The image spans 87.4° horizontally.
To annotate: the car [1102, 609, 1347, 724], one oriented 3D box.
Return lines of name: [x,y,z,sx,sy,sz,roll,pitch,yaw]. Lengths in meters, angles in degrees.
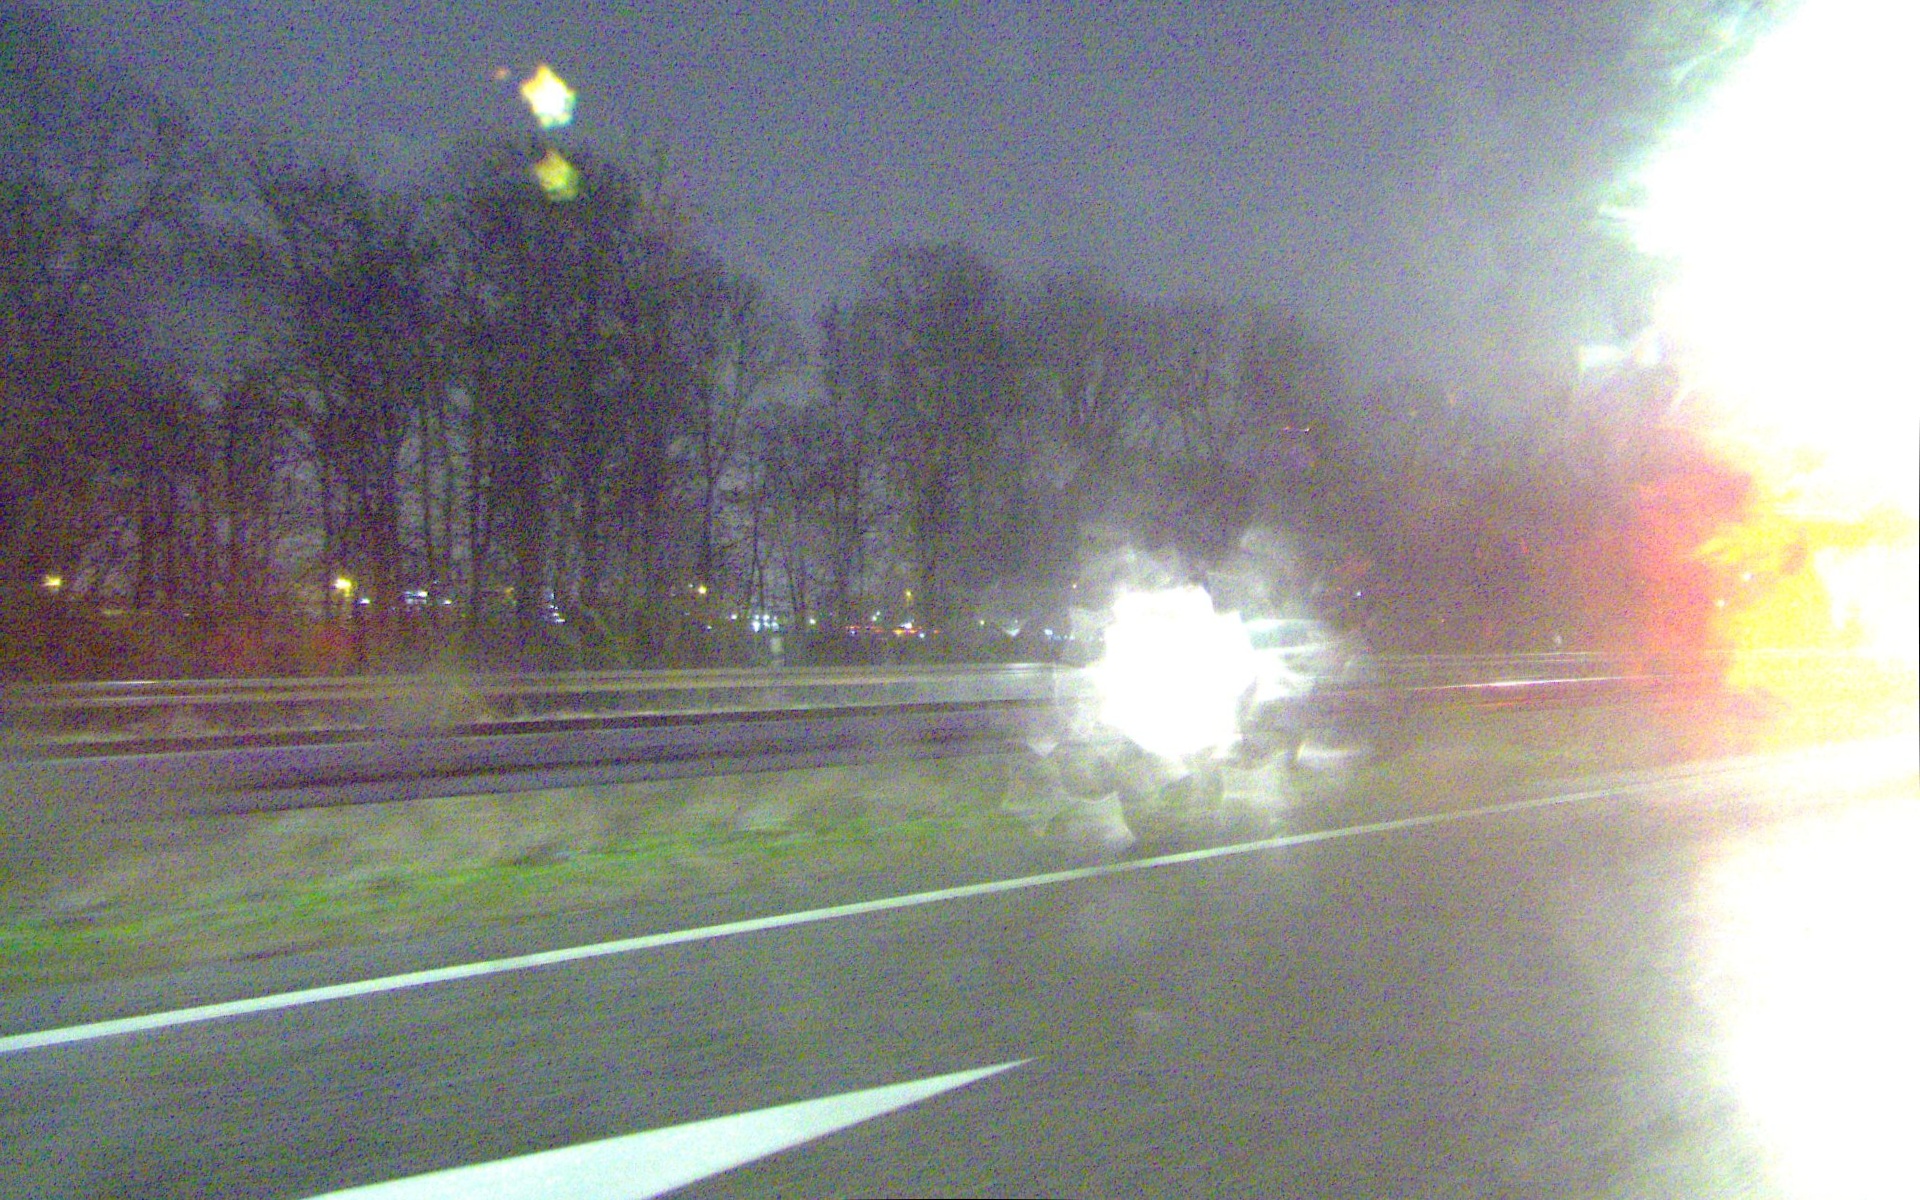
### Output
car: [4.896,1.182,18.523,4.151,1.833,1.984,3,1,-30]

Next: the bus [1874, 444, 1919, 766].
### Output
bus: [13.877,0.135,11.364,9.096,3.165,2.729,1,1,-32]
